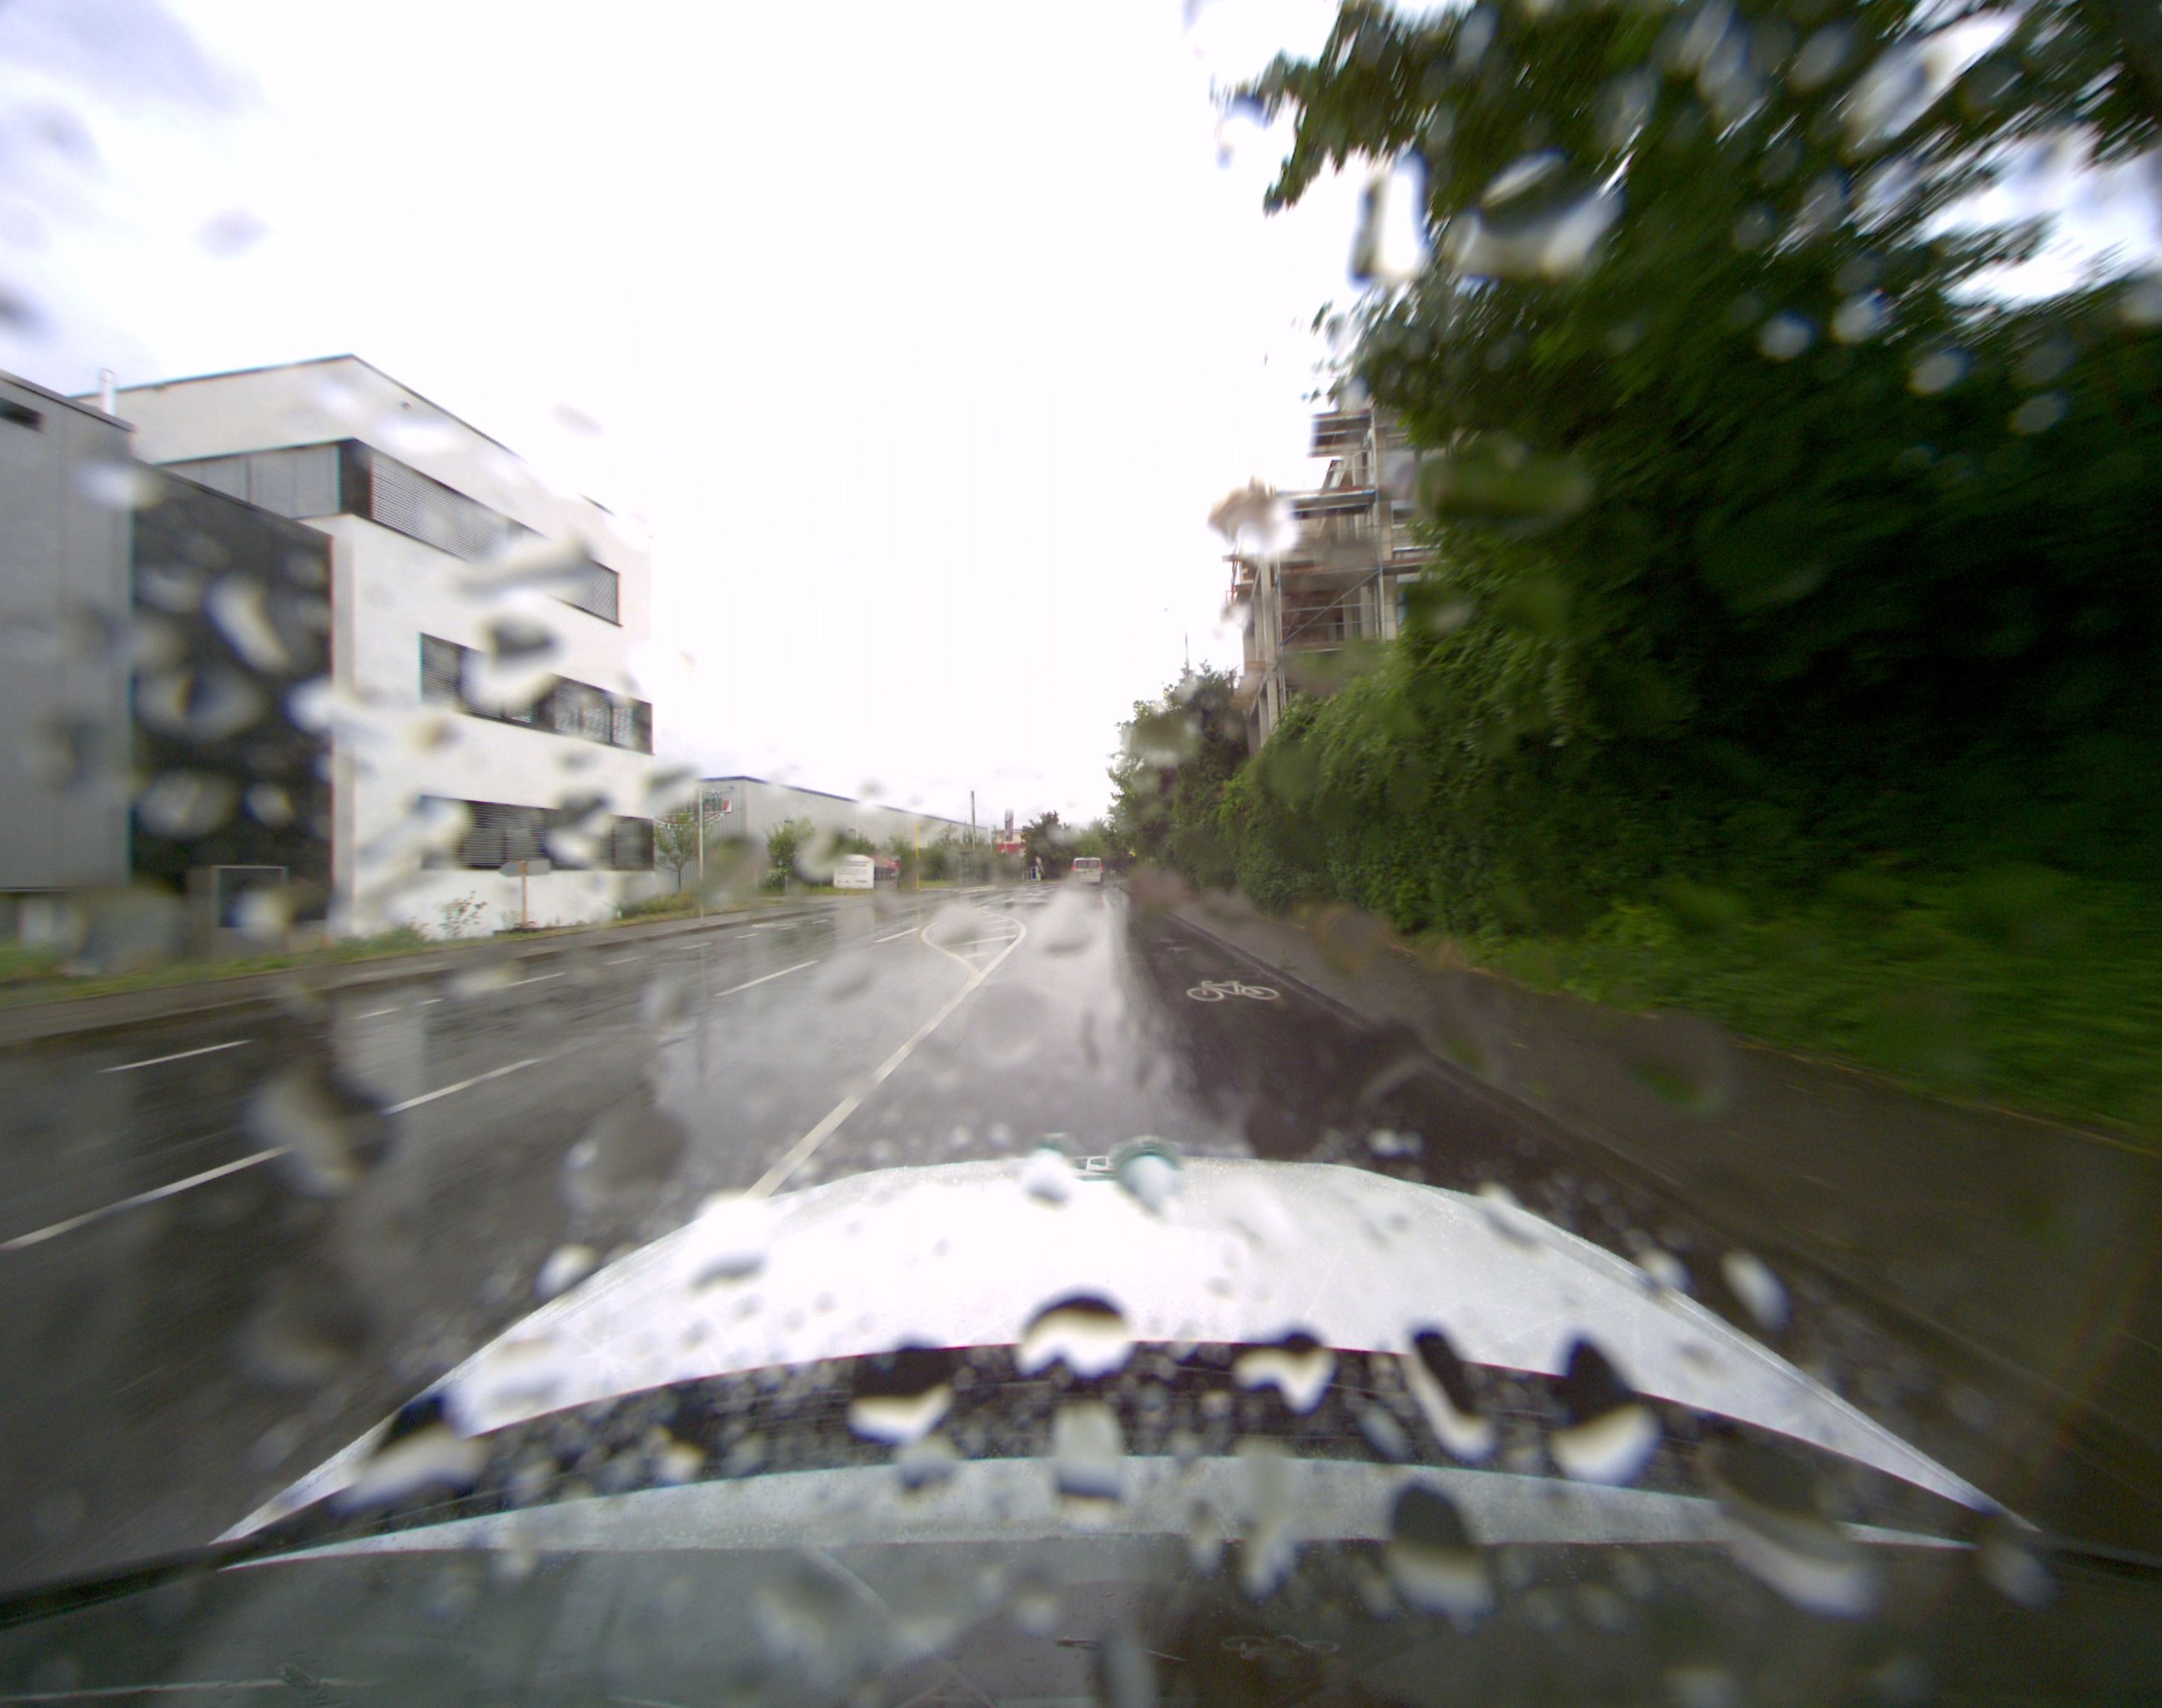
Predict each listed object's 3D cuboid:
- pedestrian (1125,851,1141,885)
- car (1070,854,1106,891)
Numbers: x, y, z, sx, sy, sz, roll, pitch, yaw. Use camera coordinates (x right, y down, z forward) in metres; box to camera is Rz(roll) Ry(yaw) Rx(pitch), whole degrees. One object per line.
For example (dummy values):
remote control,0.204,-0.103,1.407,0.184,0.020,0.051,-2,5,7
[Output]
pedestrian,3.030,0.805,47.459,0.774,1.907,0.728,-5,-2,0
car,0.478,1.081,49.418,1.892,2.018,5.374,-4,-1,1
